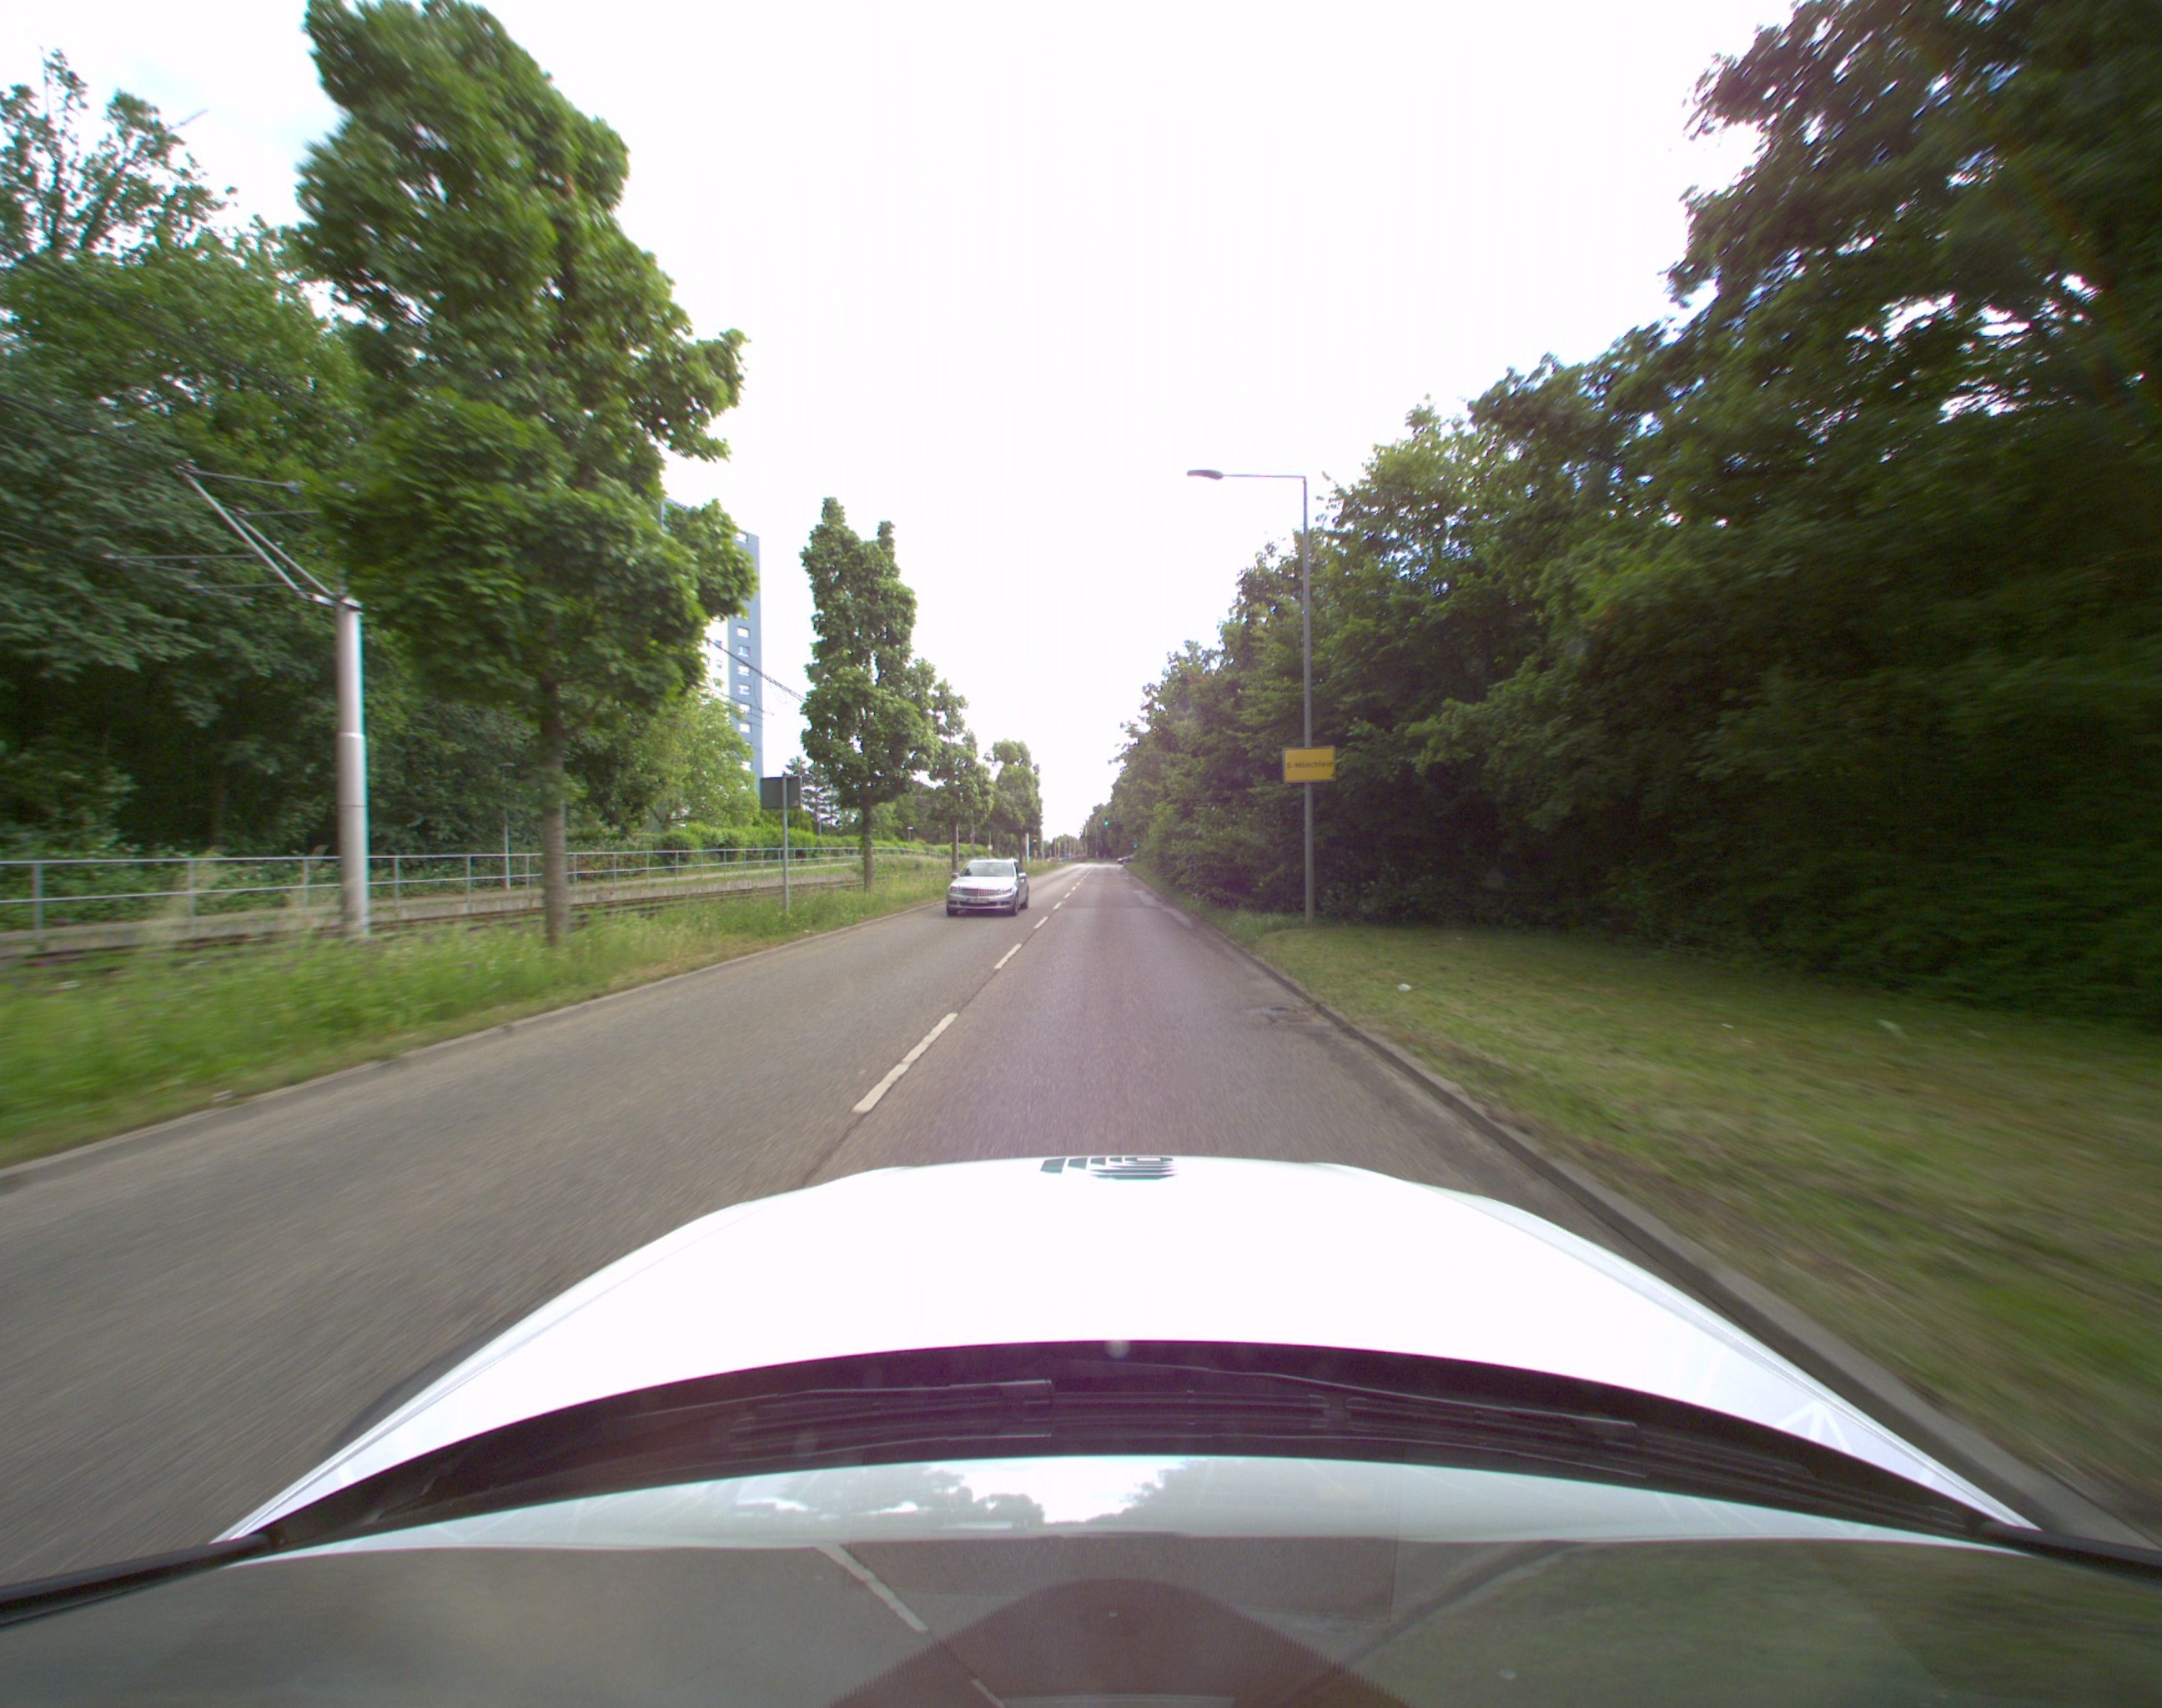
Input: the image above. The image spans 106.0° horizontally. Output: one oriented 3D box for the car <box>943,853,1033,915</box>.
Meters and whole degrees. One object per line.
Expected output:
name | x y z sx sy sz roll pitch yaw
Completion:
car | -2.373 0.728 21.770 1.767 1.469 4.244 0 0 2
